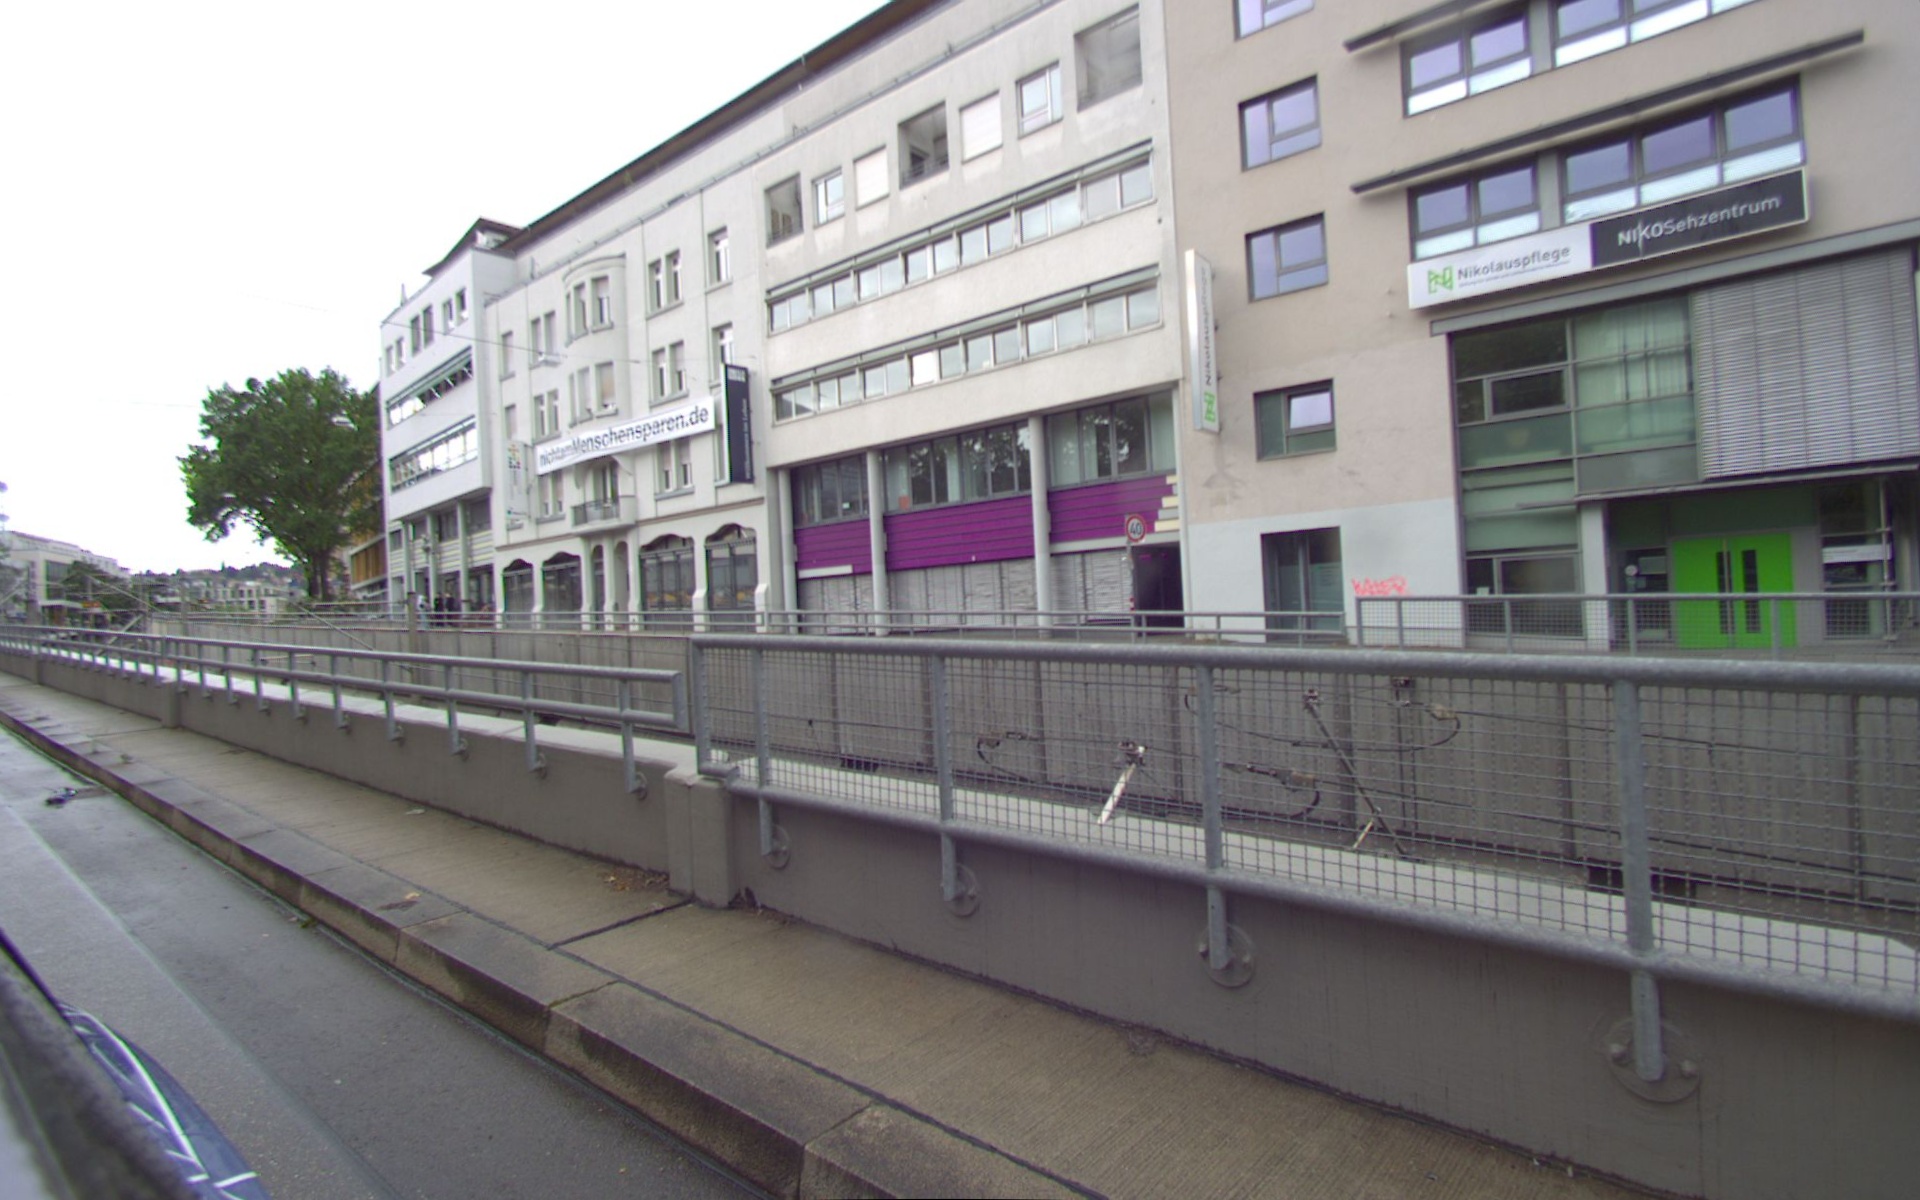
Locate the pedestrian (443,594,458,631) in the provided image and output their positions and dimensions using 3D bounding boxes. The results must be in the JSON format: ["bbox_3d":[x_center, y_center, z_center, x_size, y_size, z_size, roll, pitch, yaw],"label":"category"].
[{"bbox_3d":[-25.409,0.614,50.464,0.547,1.816,0.463,-2,1,44],"label":"pedestrian"}]

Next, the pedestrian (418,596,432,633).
[{"bbox_3d":[-26.713,0.710,50.513,0.463,1.816,0.548,-3,1,-42],"label":"pedestrian"}]

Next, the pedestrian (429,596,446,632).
[{"bbox_3d":[-26.424,0.713,51.212,0.469,1.816,0.541,-2,1,33],"label":"pedestrian"}]
